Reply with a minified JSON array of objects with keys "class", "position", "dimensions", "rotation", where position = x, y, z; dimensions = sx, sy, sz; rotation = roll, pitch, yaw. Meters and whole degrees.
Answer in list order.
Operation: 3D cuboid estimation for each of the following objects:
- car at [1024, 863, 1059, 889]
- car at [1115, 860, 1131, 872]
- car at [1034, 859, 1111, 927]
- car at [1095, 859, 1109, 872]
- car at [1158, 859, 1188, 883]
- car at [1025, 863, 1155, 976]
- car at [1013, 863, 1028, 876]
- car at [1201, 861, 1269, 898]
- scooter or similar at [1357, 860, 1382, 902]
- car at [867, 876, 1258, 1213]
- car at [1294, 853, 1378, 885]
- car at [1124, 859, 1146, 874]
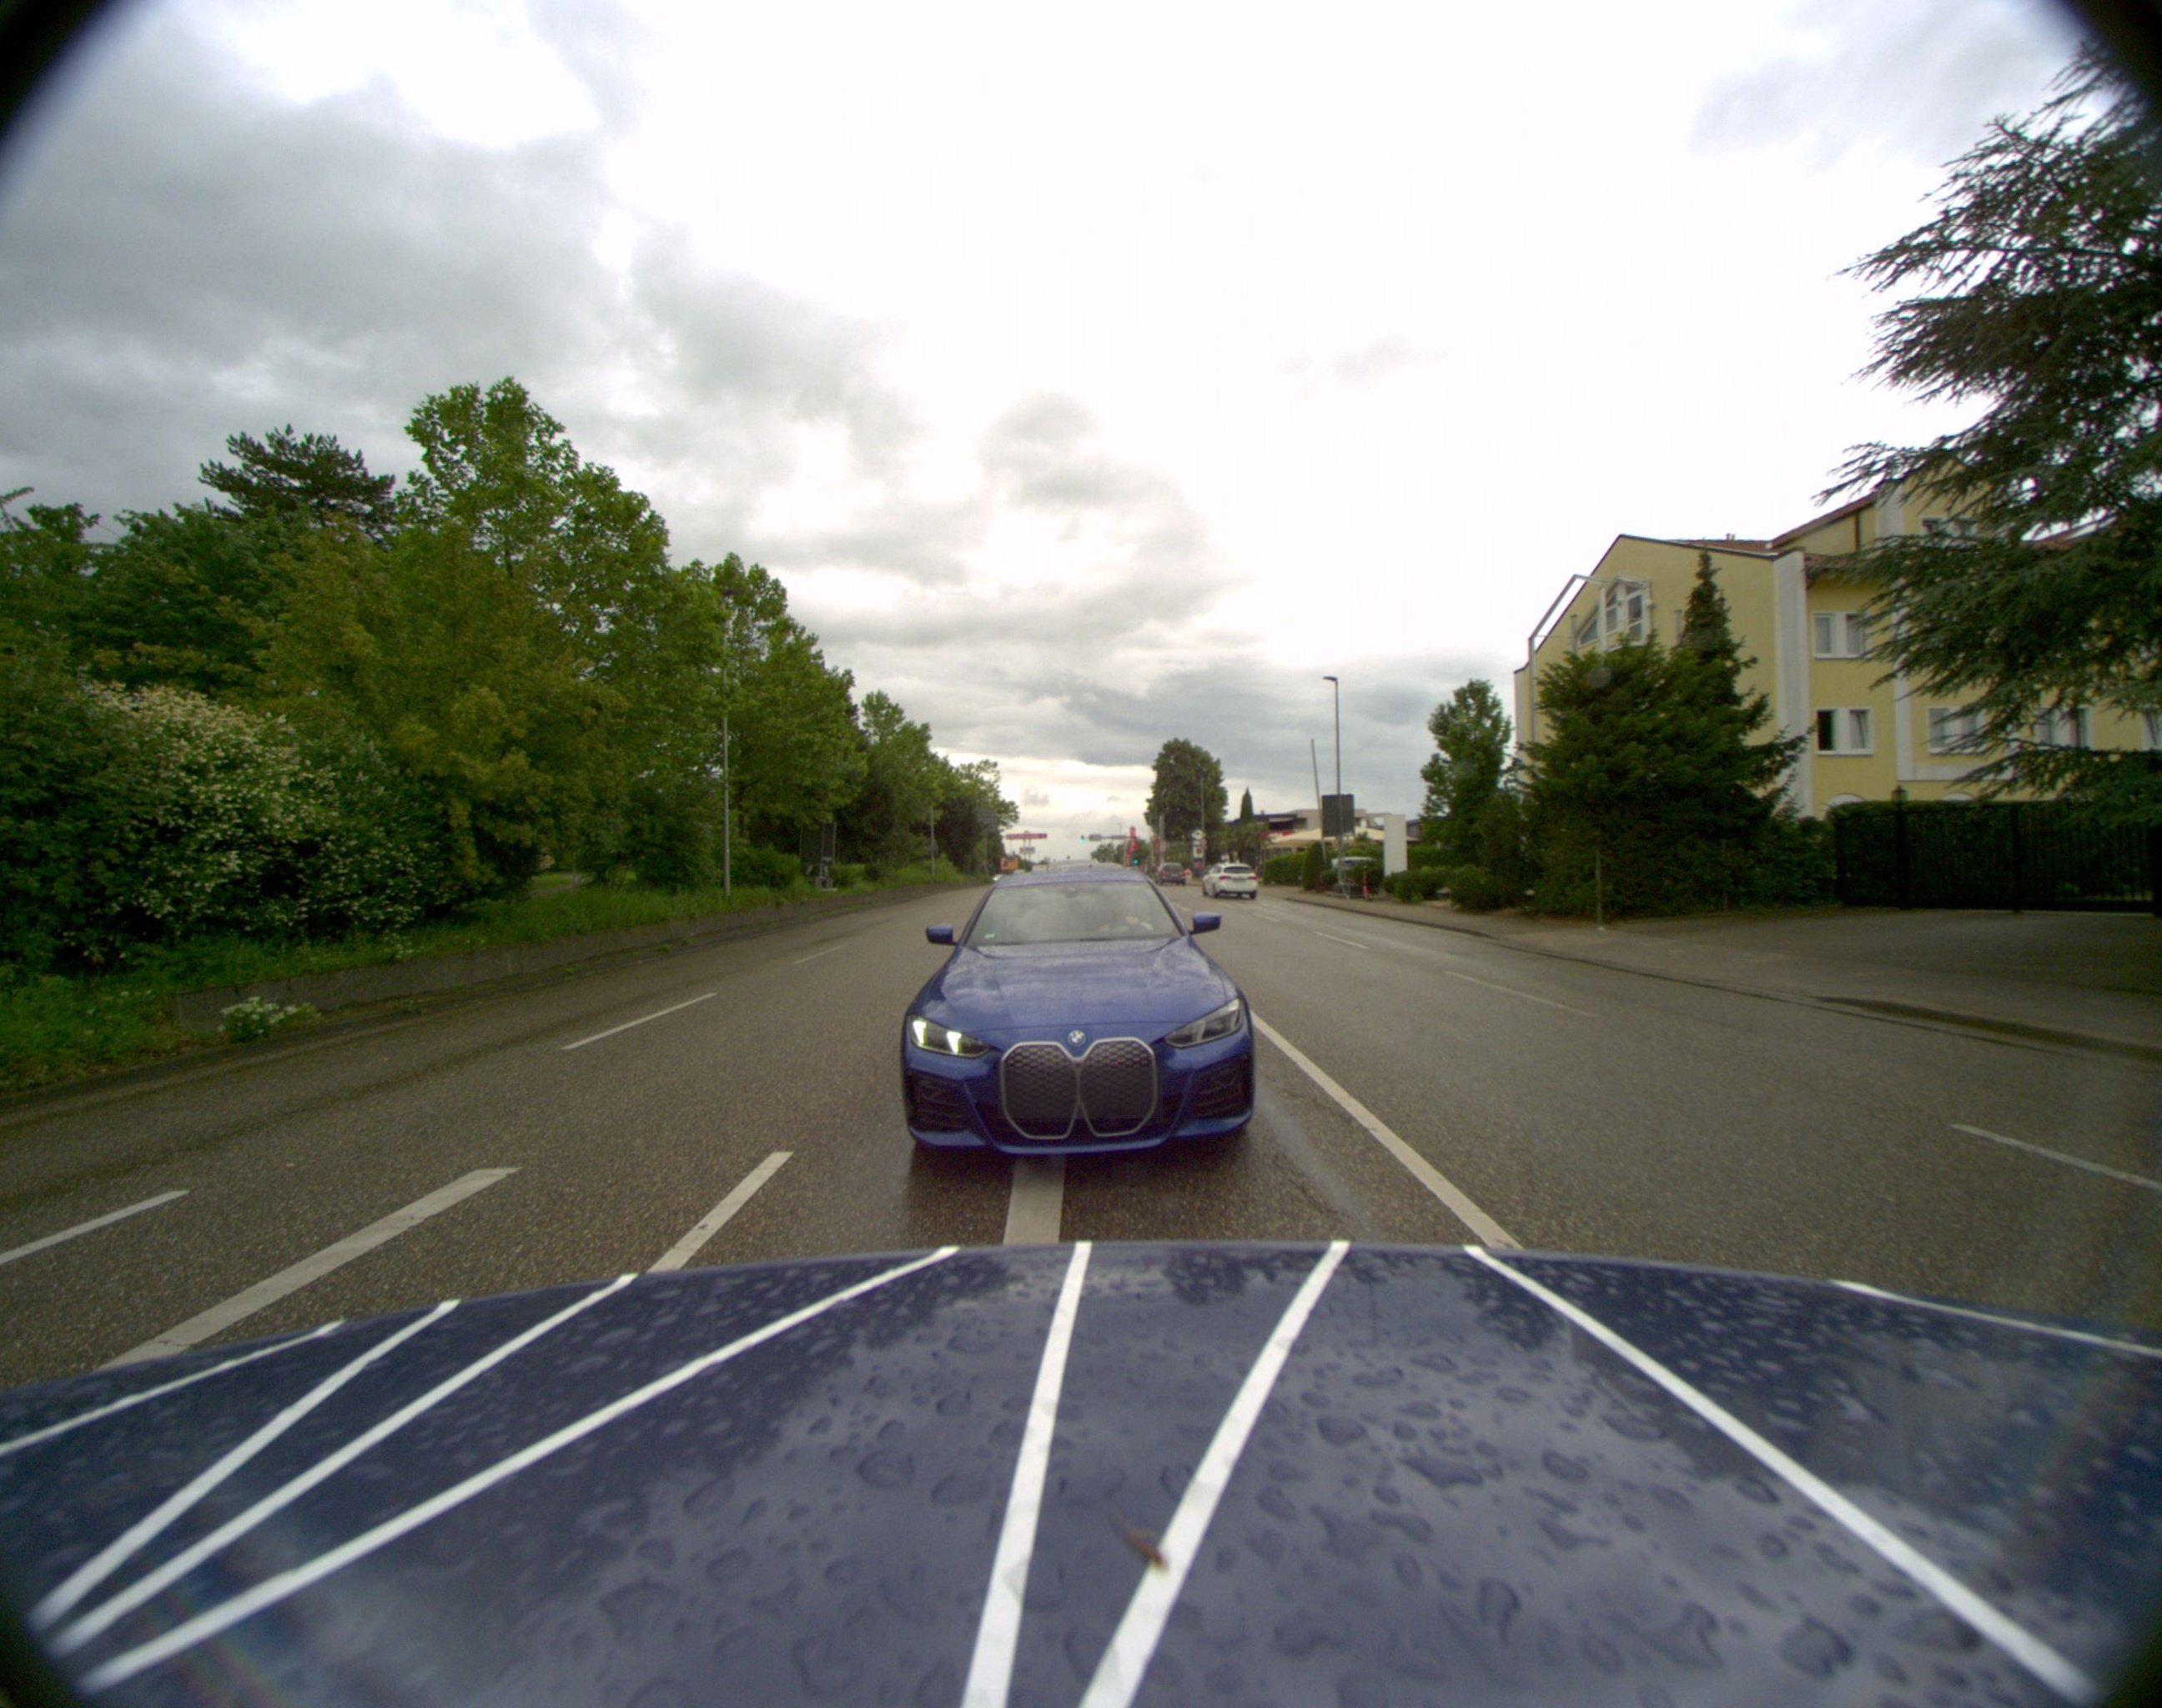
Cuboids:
[{"class":"car","position":[-2.334,1.305,45.840],"dimensions":[1.775,1.448,4.000],"rotation":[-1,0,1]},{"class":"car","position":[5.278,1.500,95.437],"dimensions":[1.700,1.467,3.779],"rotation":[-2,0,-2]},{"class":"car","position":[-0.185,0.955,20.125],"dimensions":[1.807,1.543,4.000],"rotation":[-1,0,0]},{"class":"car","position":[2.472,1.319,90.168],"dimensions":[1.643,1.451,3.518],"rotation":[-1,0,0]},{"class":"car","position":[6.449,1.177,53.523],"dimensions":[1.703,1.590,3.550],"rotation":[-1,0,1]},{"class":"car","position":[0.140,0.951,12.870],"dimensions":[1.807,1.543,4.223],"rotation":[-1,0,0]},{"class":"car","position":[-7.859,1.958,99.213],"dimensions":[1.705,1.612,3.841],"rotation":[-2,0,-2]},{"class":"car","position":[6.600,1.072,33.078],"dimensions":[1.973,1.446,4.308],"rotation":[-1,0,-1]},{"class":"scooter or similar","position":[10.064,0.919,26.524],"dimensions":[0.505,1.398,1.882],"rotation":[0,0,11]},{"class":"car","position":[-0.084,0.956,5.693],"dimensions":[1.803,1.399,4.272],"rotation":[-1,0,0]},{"class":"car","position":[13.400,0.777,40.122],"dimensions":[3.930,1.642,1.719],"rotation":[-1,0,6]},{"class":"car","position":[5.679,1.291,80.271],"dimensions":[1.790,1.451,4.431],"rotation":[-1,0,-3]}]
